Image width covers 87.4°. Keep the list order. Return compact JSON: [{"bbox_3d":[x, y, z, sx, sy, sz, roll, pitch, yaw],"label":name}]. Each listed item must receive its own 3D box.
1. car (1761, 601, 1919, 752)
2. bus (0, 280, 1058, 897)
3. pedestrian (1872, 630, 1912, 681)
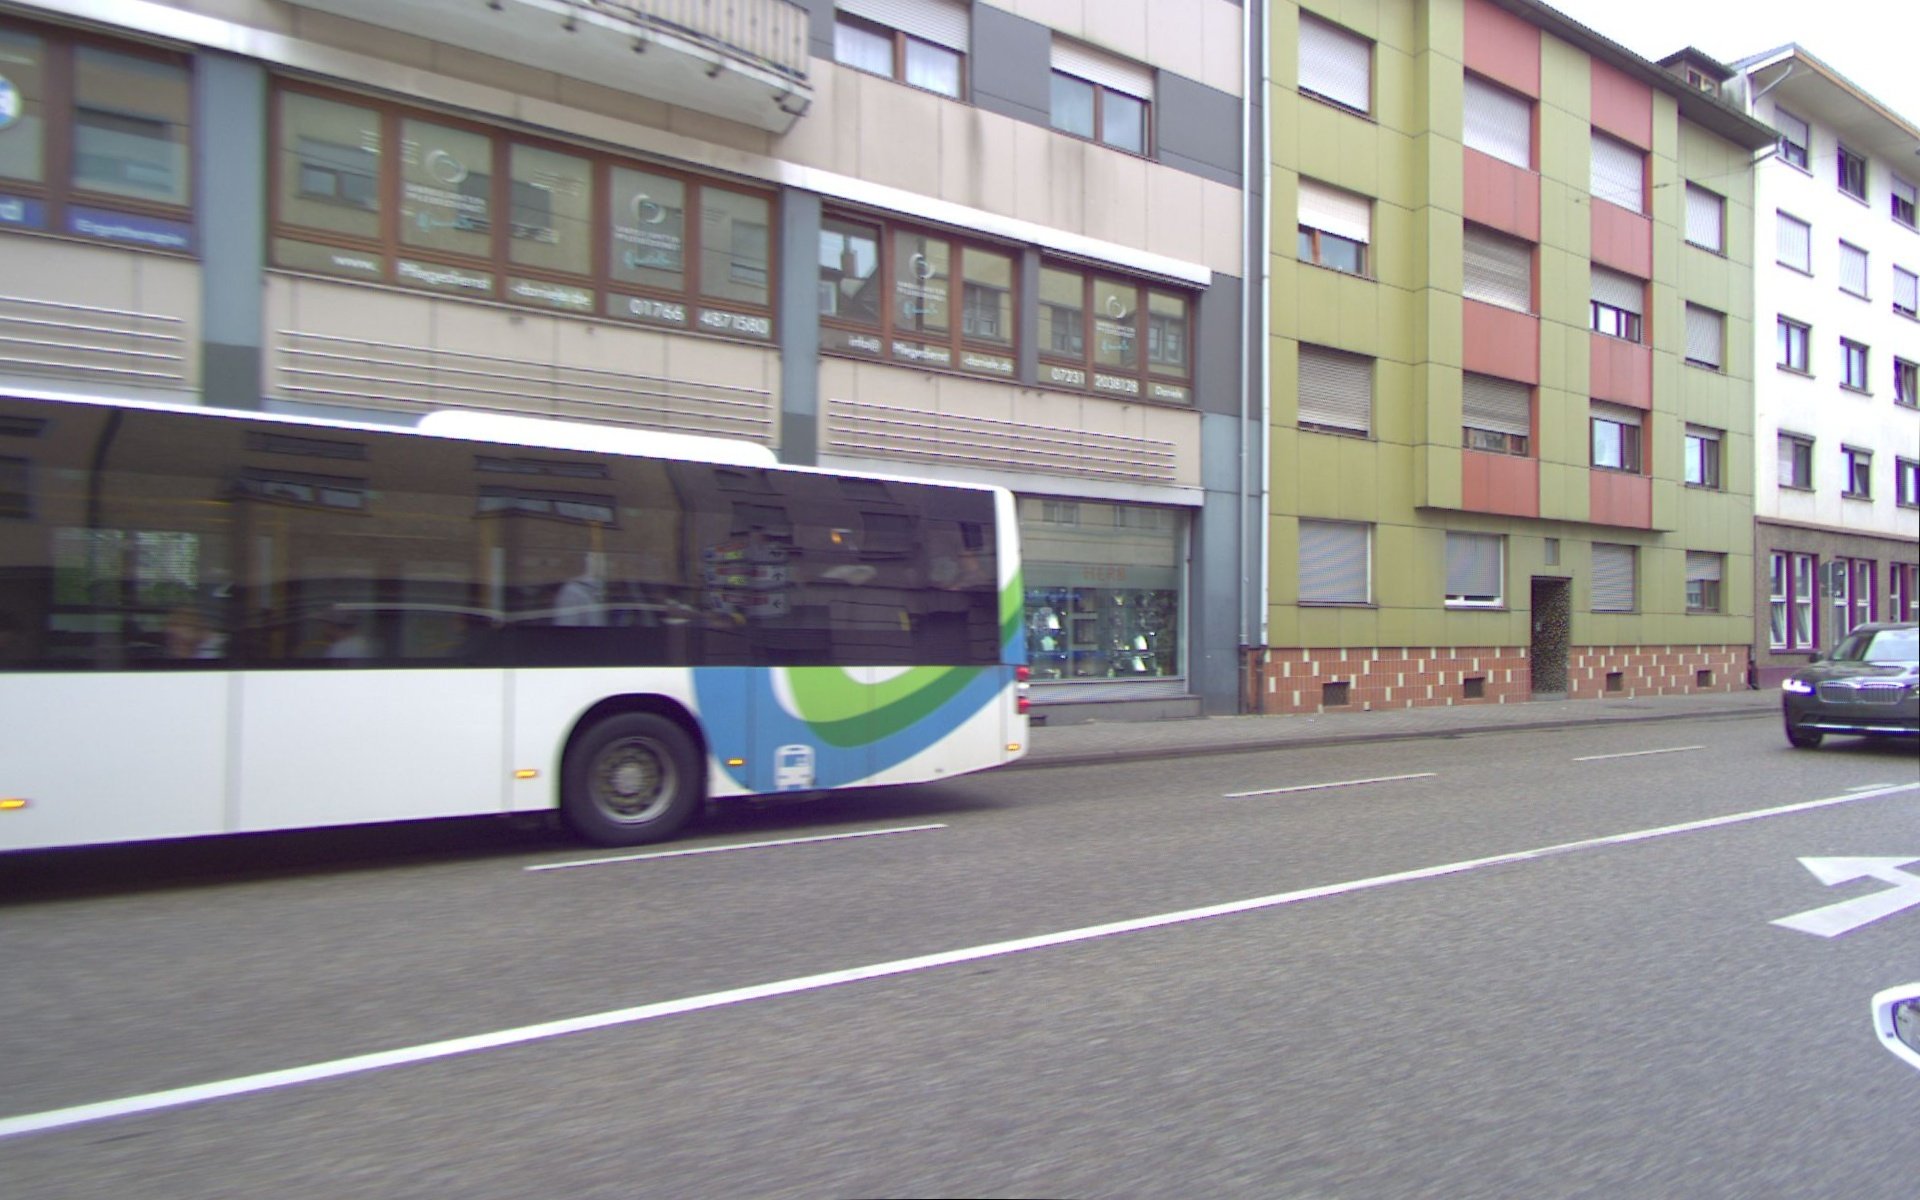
[{"bbox_3d":[12.968,0.984,13.601,4.522,1.780,1.921,2,-2,-32],"label":"car"},{"bbox_3d":[-3.793,0.030,7.555,9.184,3.230,2.713,2,-2,-30],"label":"bus"},{"bbox_3d":[29.303,1.735,31.583,0.582,1.598,0.770,2,-2,-30],"label":"pedestrian"}]
